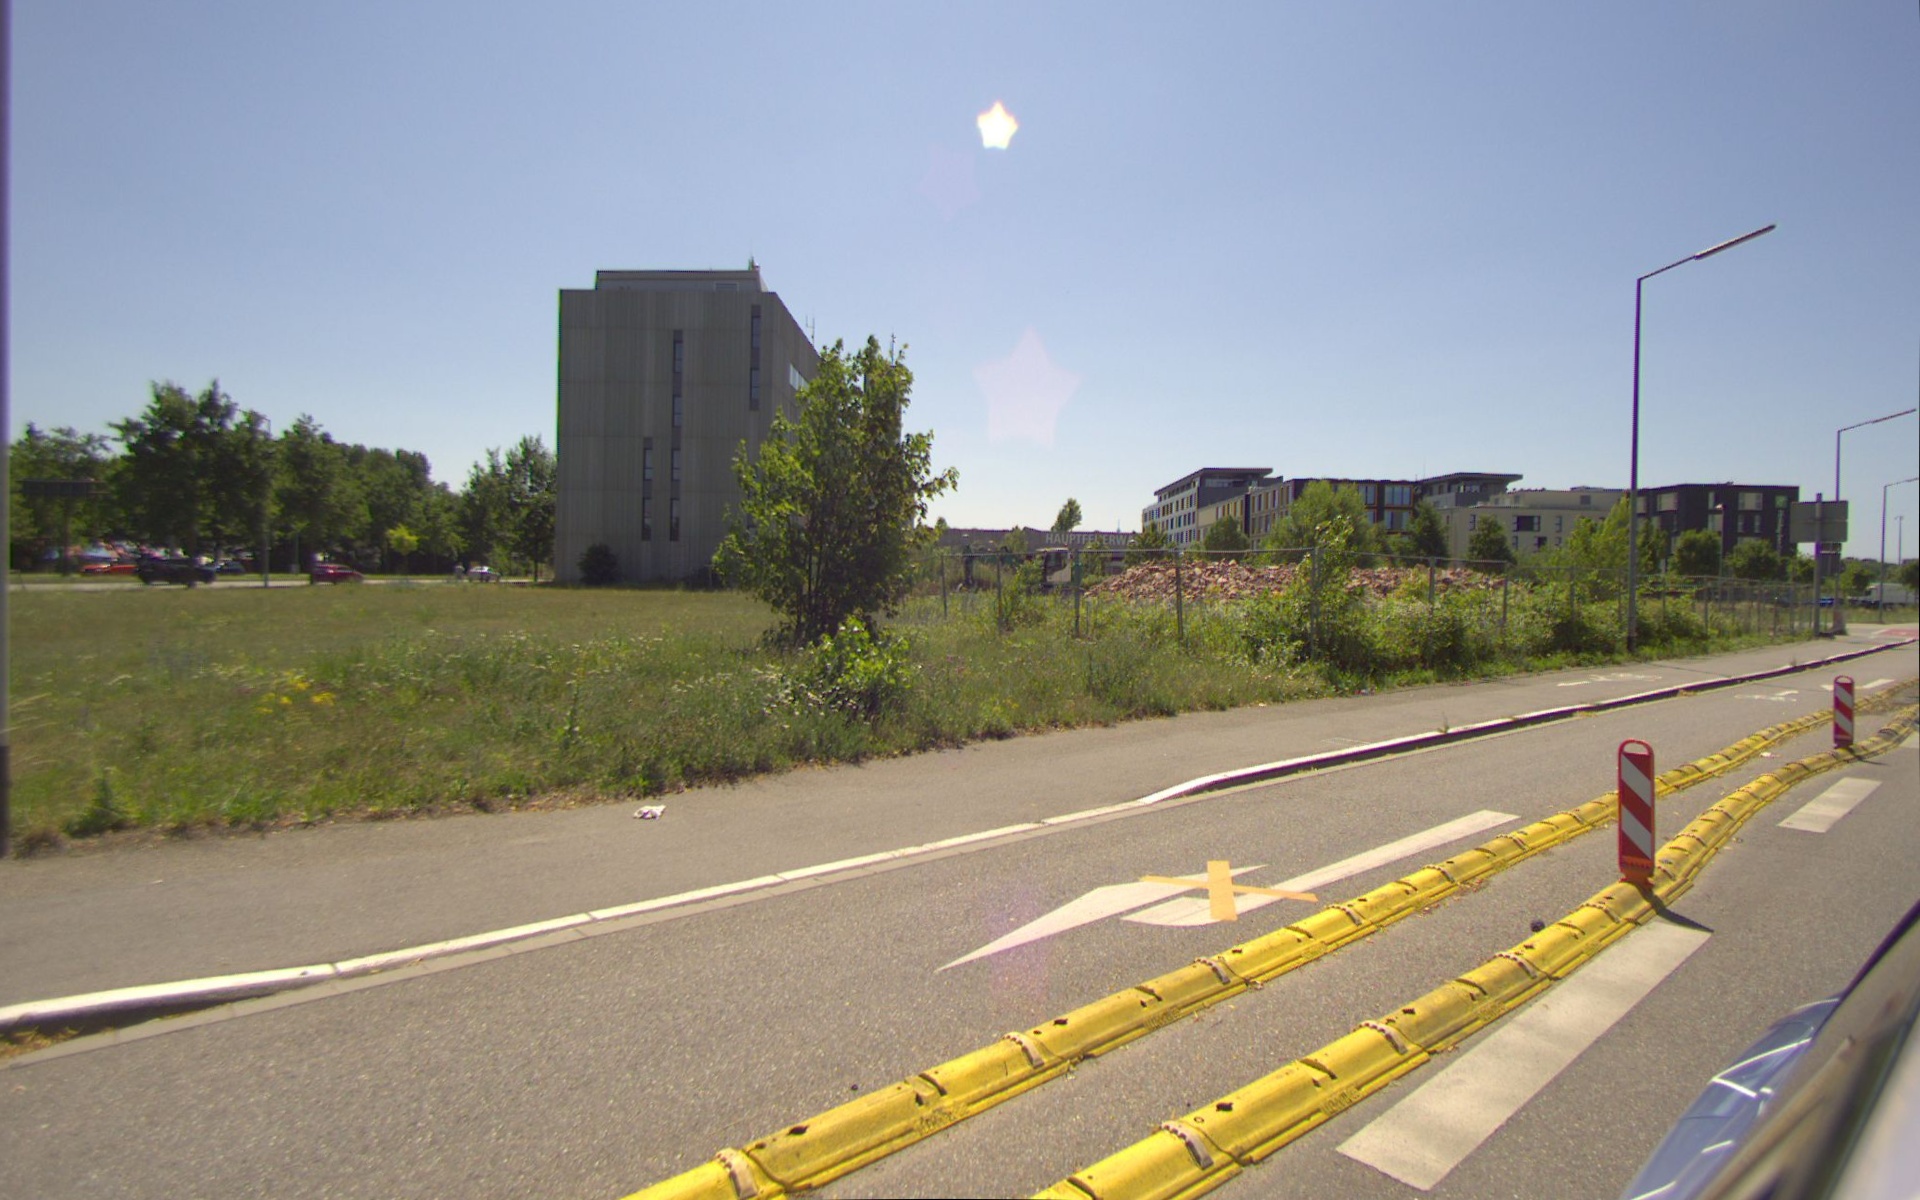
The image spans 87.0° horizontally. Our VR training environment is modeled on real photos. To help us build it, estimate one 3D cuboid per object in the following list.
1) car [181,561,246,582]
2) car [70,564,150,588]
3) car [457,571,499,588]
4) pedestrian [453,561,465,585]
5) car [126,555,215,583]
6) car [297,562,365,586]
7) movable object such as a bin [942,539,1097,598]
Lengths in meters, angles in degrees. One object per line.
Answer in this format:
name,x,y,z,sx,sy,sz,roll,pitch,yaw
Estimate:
car,-59.239,-2.245,80.398,1.814,1.612,4.443,0,0,1
car,-59.116,-1.627,70.459,1.814,1.612,4.415,0,0,1
car,-44.899,-1.915,94.392,1.961,1.546,4.423,1,1,-3
pedestrian,-33.734,-1.840,68.125,0.652,1.611,0.557,0,0,-15
car,-47.994,-1.868,61.627,1.962,1.615,4.420,2,1,-1
car,-44.155,-1.801,71.182,1.963,1.546,4.417,0,0,2
movable object such as a bin,3.154,-1.595,53.315,7.537,2.952,3.242,-1,0,-26
